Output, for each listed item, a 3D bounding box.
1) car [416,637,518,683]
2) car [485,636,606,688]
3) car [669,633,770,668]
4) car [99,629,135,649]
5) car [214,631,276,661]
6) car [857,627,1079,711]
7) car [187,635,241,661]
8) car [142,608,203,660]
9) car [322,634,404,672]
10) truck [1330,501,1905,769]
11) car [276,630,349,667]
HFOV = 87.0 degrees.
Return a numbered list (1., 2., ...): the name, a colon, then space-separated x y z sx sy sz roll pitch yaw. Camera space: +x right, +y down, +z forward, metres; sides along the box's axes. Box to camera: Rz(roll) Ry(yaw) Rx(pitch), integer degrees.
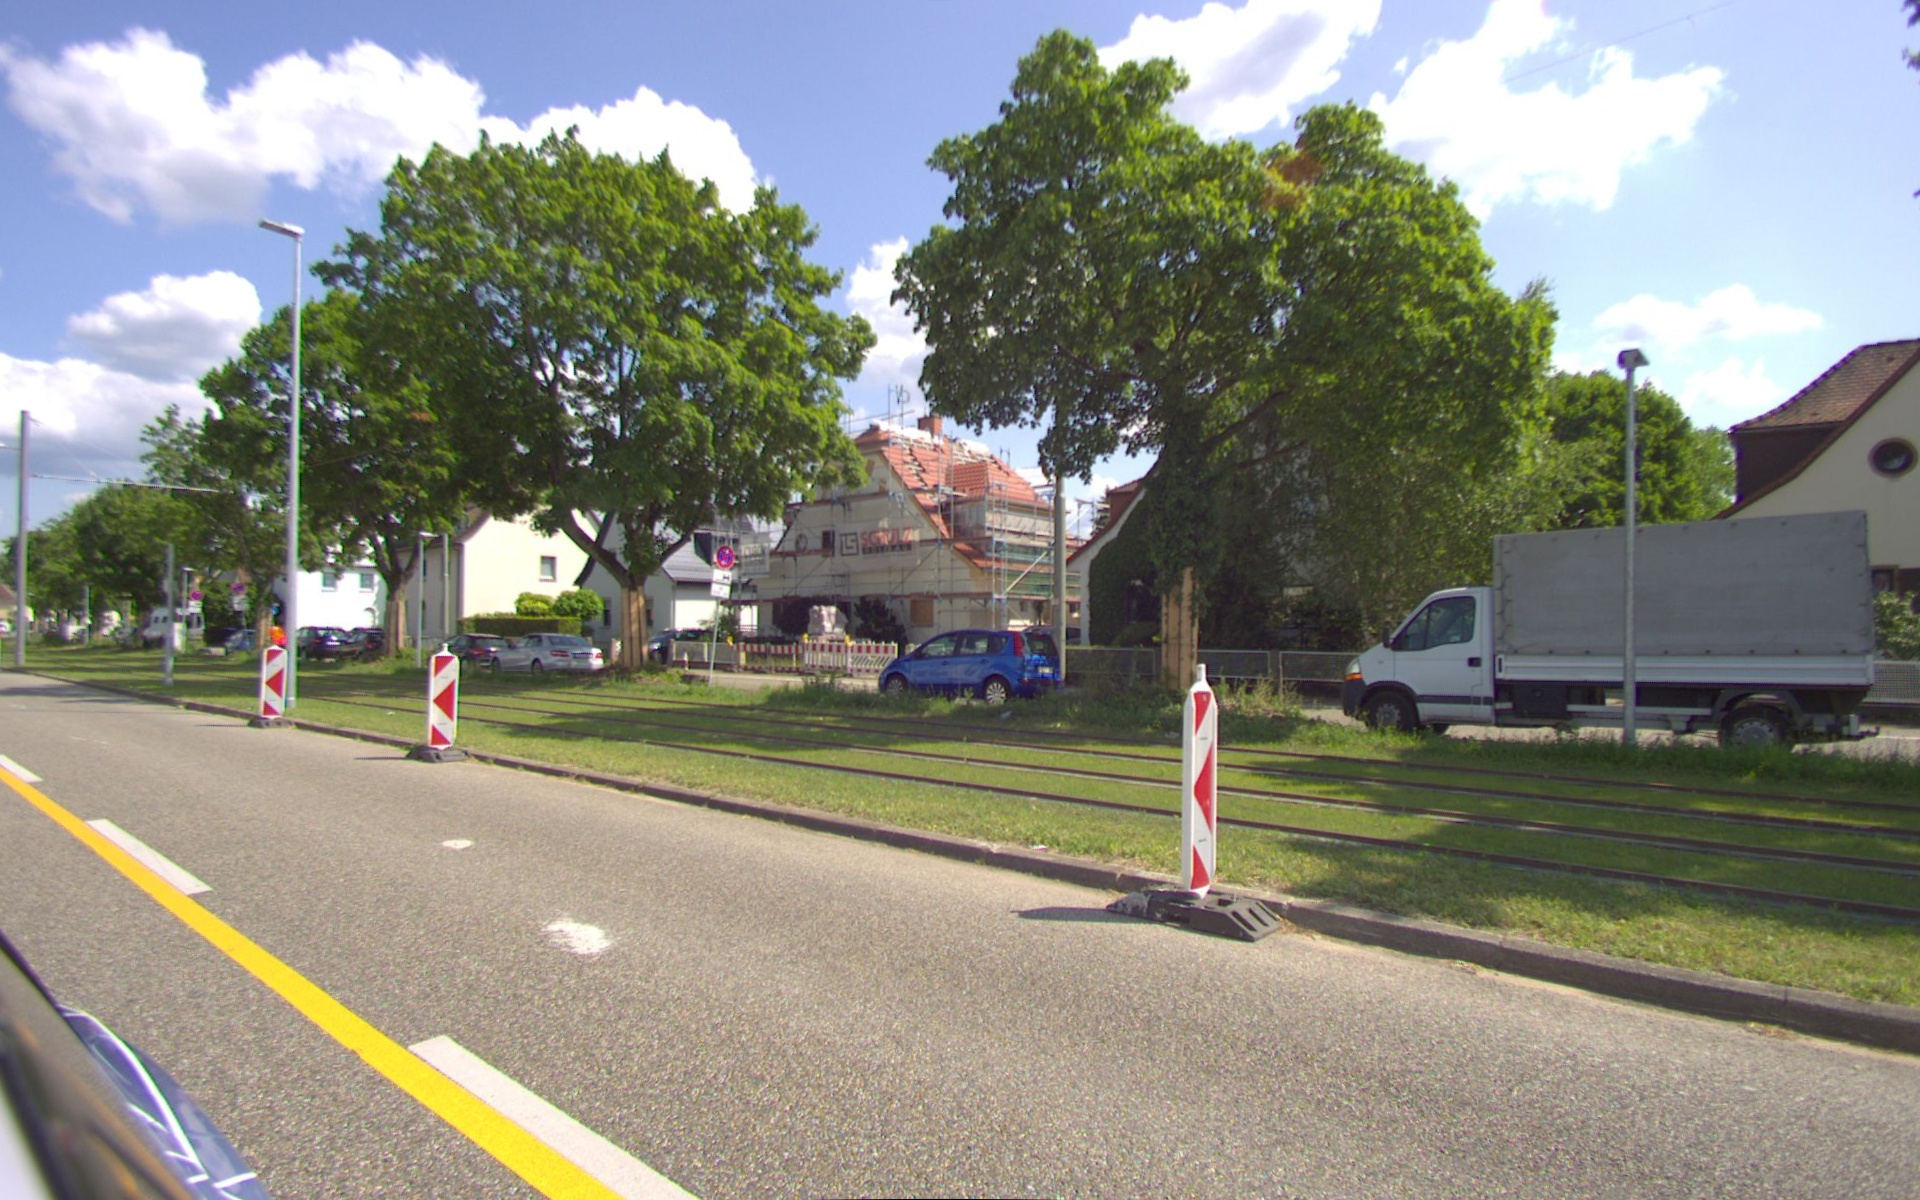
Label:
1. car: -17.523 2.120 35.886 4.403 1.497 1.680 -3 -3 41
2. car: -13.101 1.932 31.831 4.520 1.497 1.765 -4 -3 42
3. car: -10.929 2.292 46.204 1.702 1.497 4.345 -3 -3 41
4. car: -69.110 3.206 82.911 4.404 1.497 1.679 -4 -3 42
5. car: -37.497 2.428 53.041 4.403 1.497 1.680 -3 -3 41
6. car: 0.064 1.353 20.273 4.403 1.497 1.680 -3 -3 41
7. car: -44.480 2.875 60.321 4.403 1.497 1.680 -3 -3 41
8. car: -49.520 2.161 63.597 5.080 3.061 2.108 -3 -3 41
9. car: -25.182 2.253 42.643 4.403 1.497 1.680 -3 -3 41
10. truck: 8.298 0.456 13.396 5.971 2.802 2.242 -2 -3 41
11. car: -29.497 2.225 46.066 4.403 1.584 1.680 -3 -3 41
